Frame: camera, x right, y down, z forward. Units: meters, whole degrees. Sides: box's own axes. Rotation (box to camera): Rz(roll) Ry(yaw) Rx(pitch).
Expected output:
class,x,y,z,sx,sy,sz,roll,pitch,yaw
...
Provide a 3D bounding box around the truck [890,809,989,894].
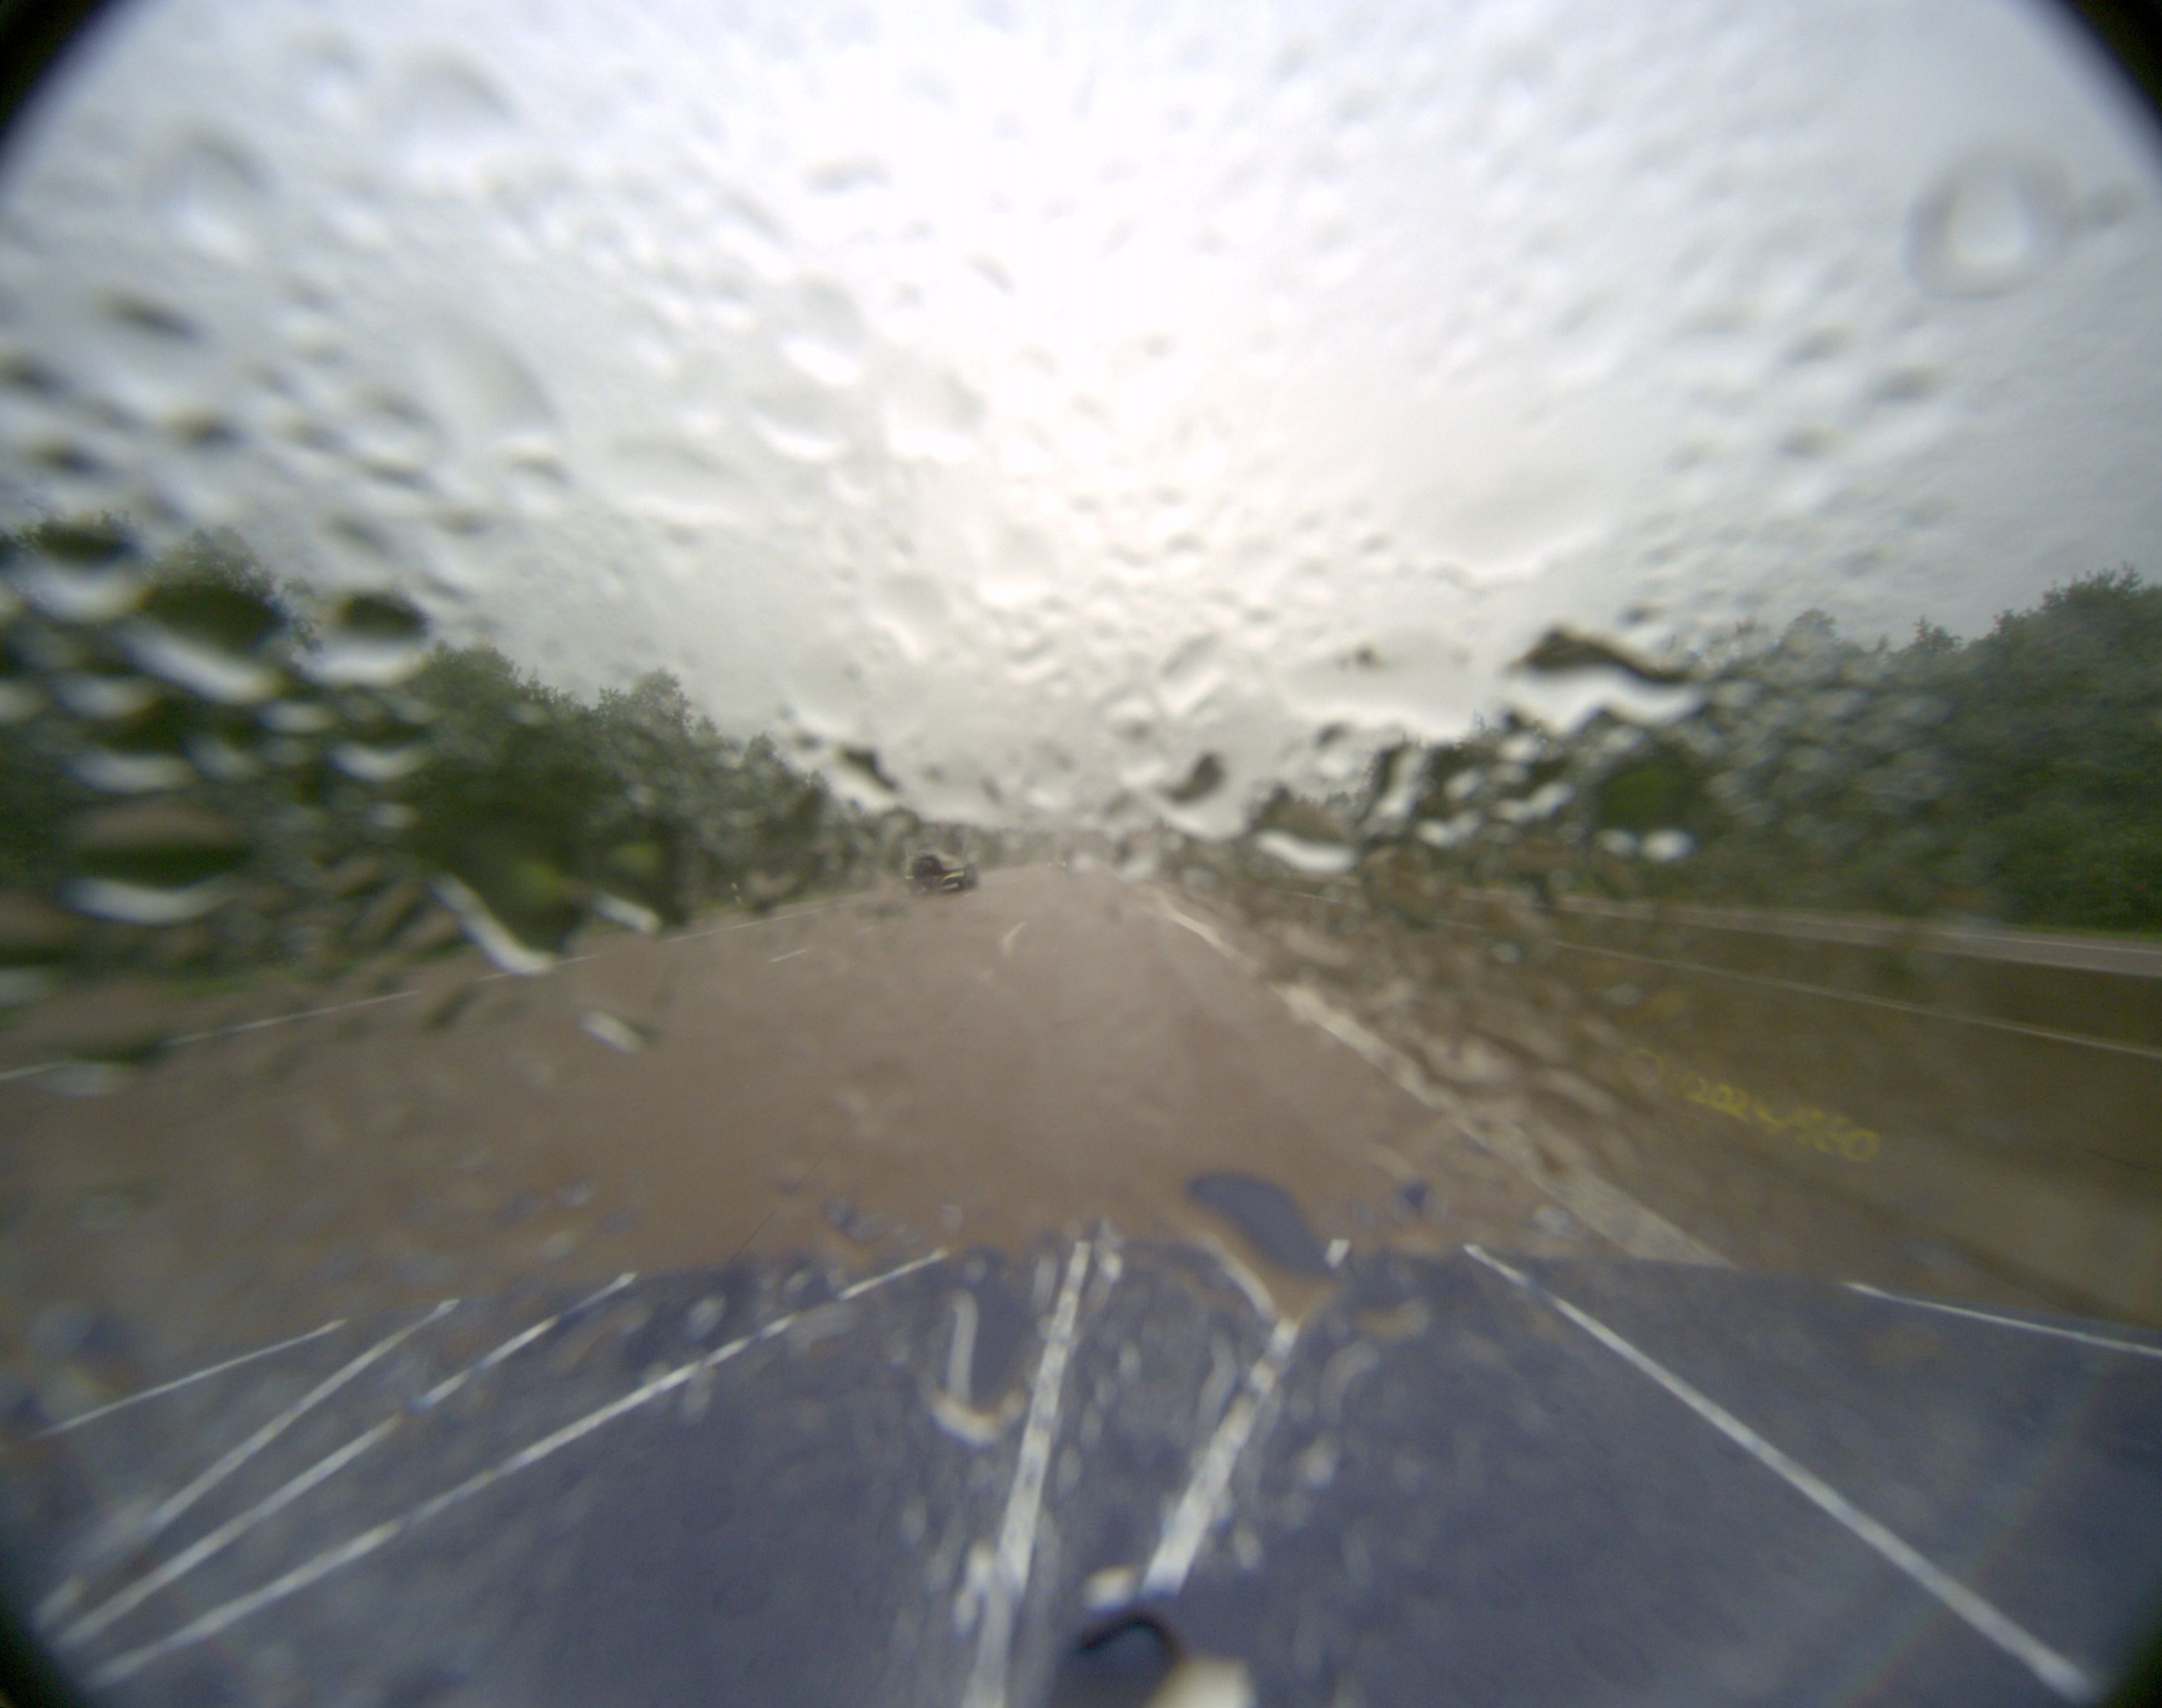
class,x,y,z,sx,sy,sz,roll,pitch,yaw
truck,-6.905,-0.123,38.401,3.242,3.708,7.954,-2,0,1

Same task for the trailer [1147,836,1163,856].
class,x,y,z,sx,sy,sz,roll,pitch,yaw
trailer,19.624,-2.010,201.252,3.762,4.924,13.686,-2,0,6

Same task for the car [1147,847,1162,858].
class,x,y,z,sx,sy,sz,roll,pitch,yaw
car,14.735,-0.283,152.194,2.312,2.002,5.662,1,0,0

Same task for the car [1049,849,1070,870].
class,x,y,z,sx,sy,sz,roll,pitch,yaw
car,-2.216,0.573,79.341,1.999,2.002,4.276,-3,0,0
